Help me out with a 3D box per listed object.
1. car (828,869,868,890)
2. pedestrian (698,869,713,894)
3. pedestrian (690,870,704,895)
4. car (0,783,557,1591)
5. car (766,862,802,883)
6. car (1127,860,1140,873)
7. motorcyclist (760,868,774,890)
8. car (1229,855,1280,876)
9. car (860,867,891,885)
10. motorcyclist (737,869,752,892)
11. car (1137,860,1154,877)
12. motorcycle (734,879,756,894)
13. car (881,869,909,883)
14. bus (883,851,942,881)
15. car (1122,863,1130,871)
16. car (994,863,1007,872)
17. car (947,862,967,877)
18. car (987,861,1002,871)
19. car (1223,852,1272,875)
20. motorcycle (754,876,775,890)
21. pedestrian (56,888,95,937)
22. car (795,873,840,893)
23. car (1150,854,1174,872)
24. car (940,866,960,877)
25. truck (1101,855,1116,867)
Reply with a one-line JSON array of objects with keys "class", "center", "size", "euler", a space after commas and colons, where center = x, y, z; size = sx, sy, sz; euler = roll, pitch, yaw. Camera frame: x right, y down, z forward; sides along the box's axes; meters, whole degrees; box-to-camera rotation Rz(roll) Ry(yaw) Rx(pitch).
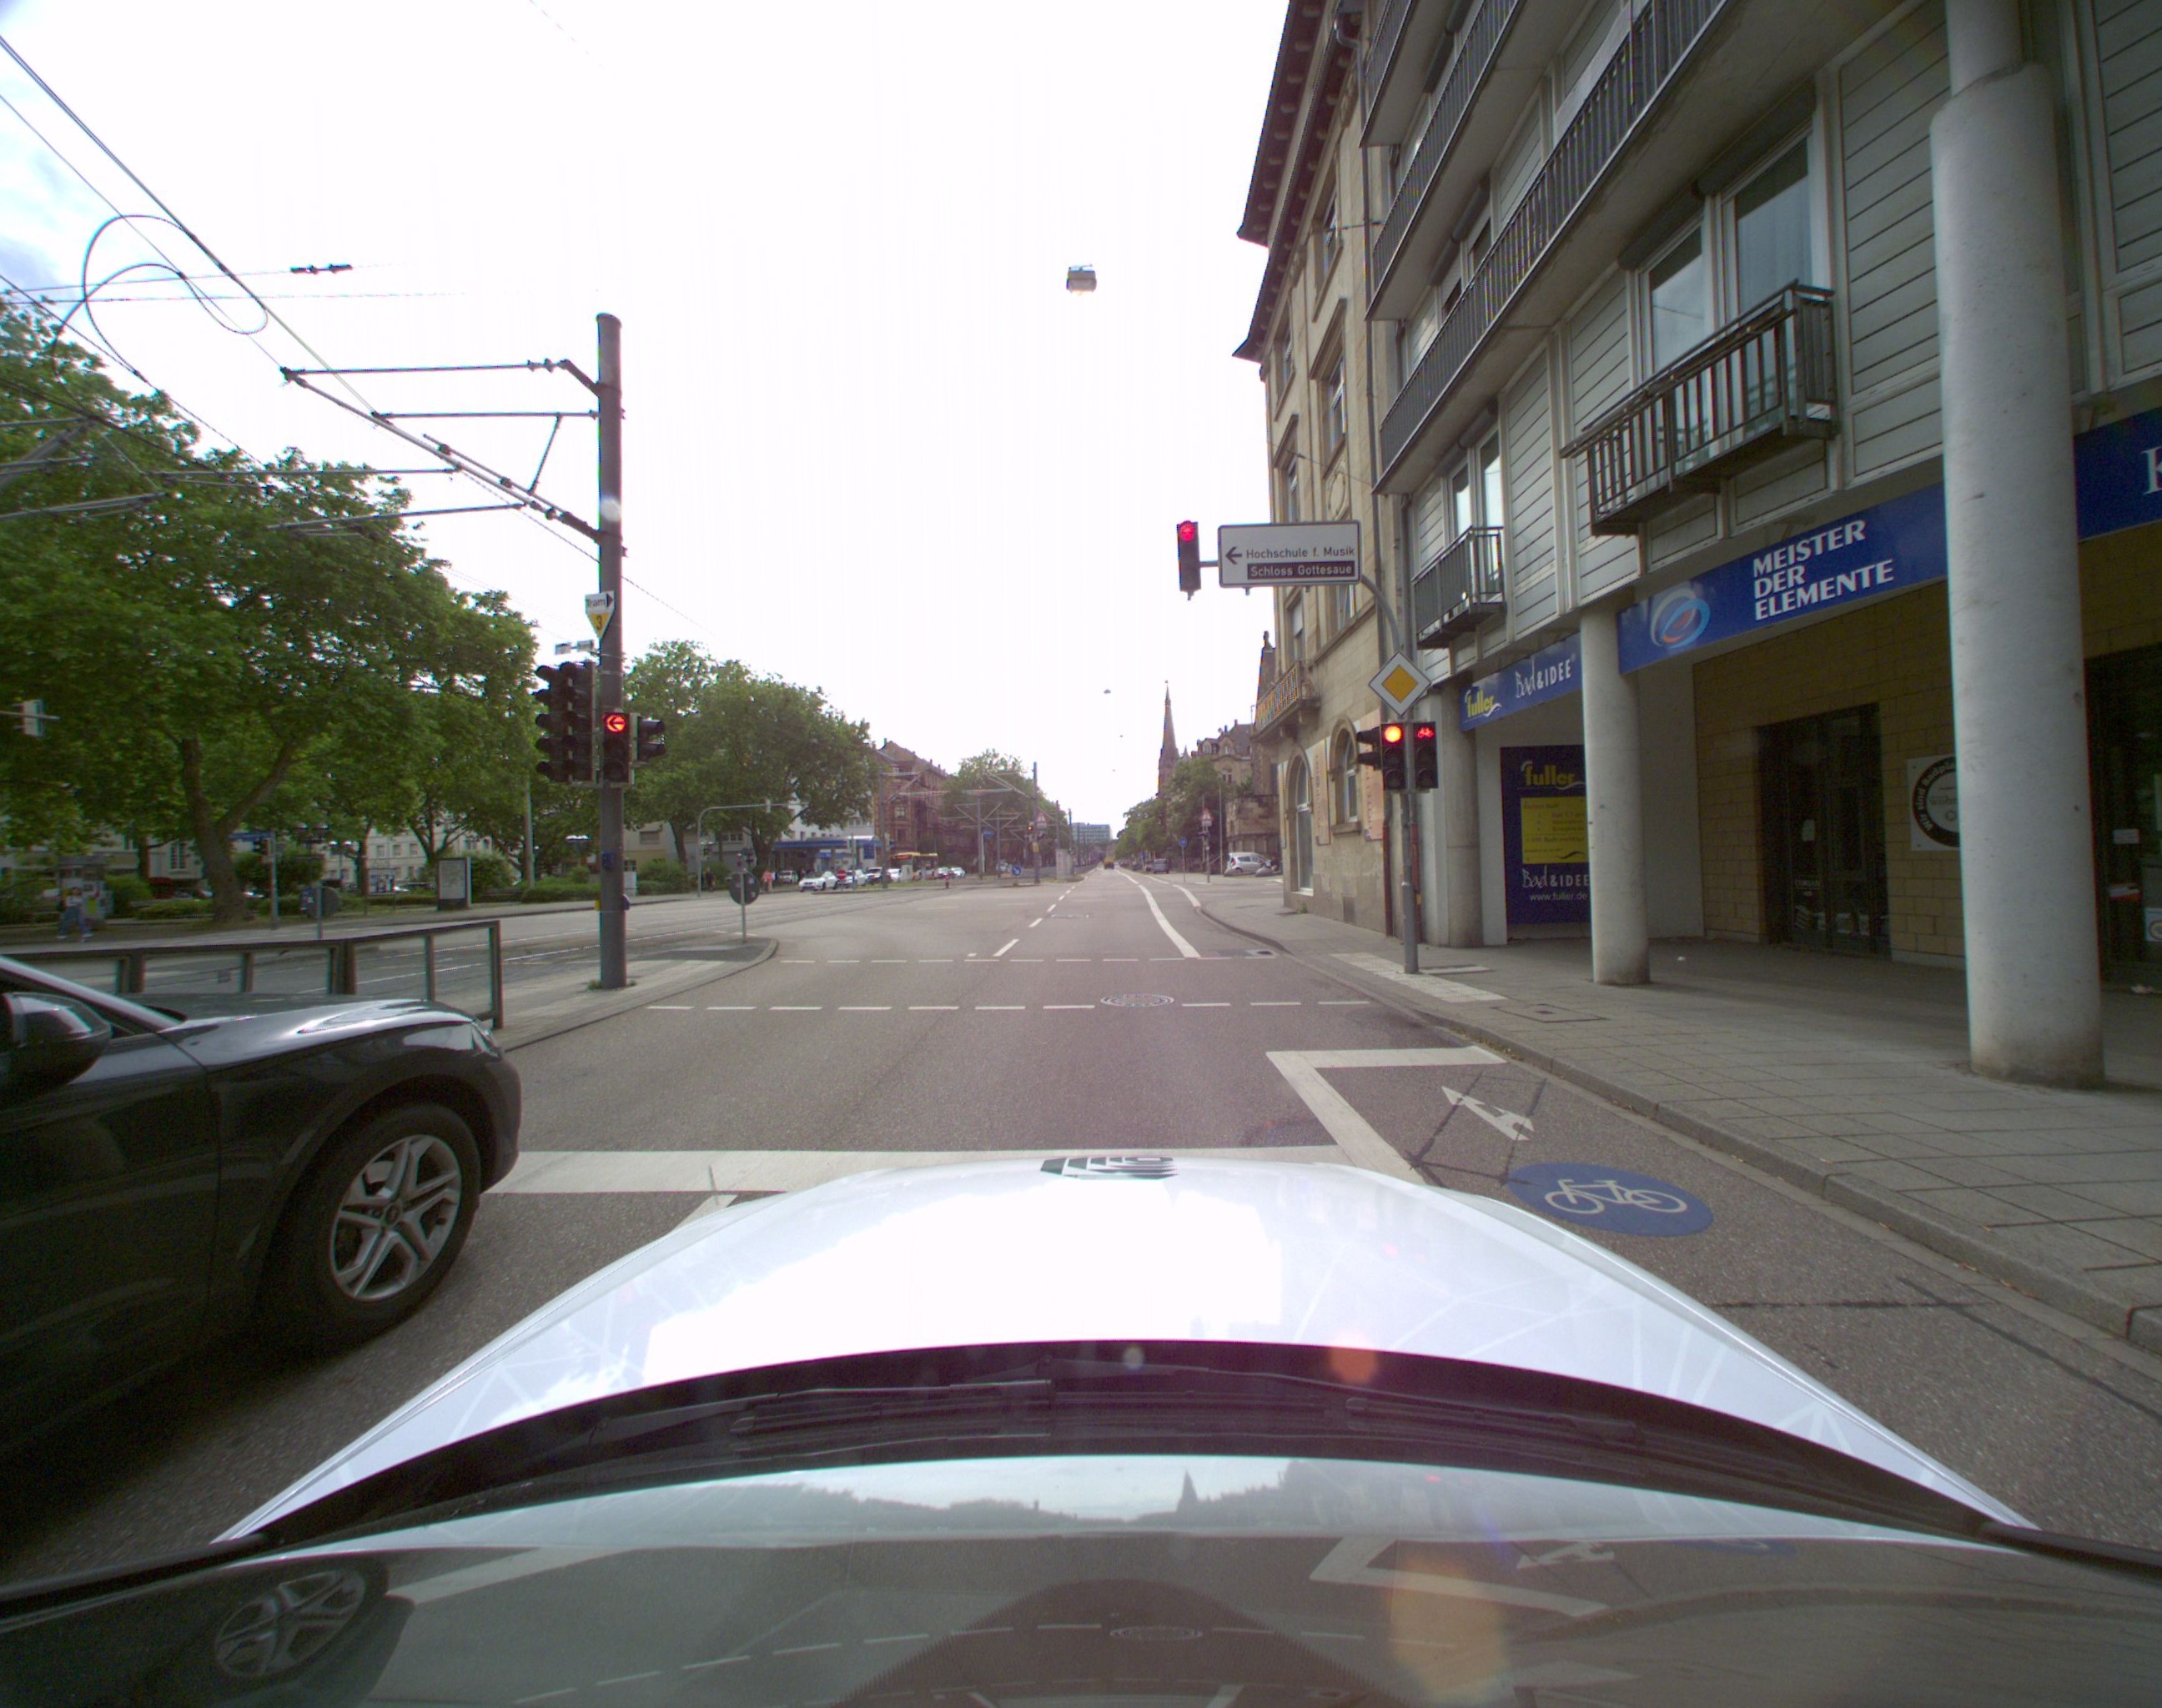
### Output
[{"class": "car", "center": [-18.846, 2.064, 66.072], "size": [1.986, 1.594, 4.001], "euler": [0, -1, 2]}, {"class": "pedestrian", "center": [-26.525, 1.916, 57.541], "size": [0.876, 1.713, 0.868], "euler": [-1, -1, -20]}, {"class": "pedestrian", "center": [-26.971, 2.024, 57.213], "size": [0.690, 1.713, 0.865], "euler": [-1, -1, -17]}, {"class": "car", "center": [-3.074, 0.677, 1.225], "size": [1.727, 1.637, 4.228], "euler": [0, -1, 2]}, {"class": "car", "center": [-29.778, 1.811, 81.797], "size": [1.986, 2.014, 4.001], "euler": [-2, -1, 2]}, {"class": "car", "center": [8.690, 2.062, 135.974], "size": [1.986, 2.014, 4.001], "euler": [0, -1, 2]}, {"class": "motorcyclist", "center": [-21.604, 1.711, 56.045], "size": [0.617, 1.520, 0.874], "euler": [-2, -1, 2]}, {"class": "car", "center": [13.748, 0.911, 64.787], "size": [3.699, 1.563, 2.001], "euler": [0, -1, 2]}, {"class": "car", "center": [-18.331, 1.938, 72.716], "size": [1.649, 1.478, 3.641], "euler": [0, -1, 3]}, {"class": "motorcyclist", "center": [-22.736, 1.791, 54.985], "size": [0.617, 1.520, 0.874], "euler": [-2, -1, 2]}, {"class": "car", "center": [7.890, 1.705, 99.589], "size": [1.985, 2.014, 4.004], "euler": [0, -1, 4]}, {"class": "motorcycle", "center": [-22.703, 2.187, 55.117], "size": [0.604, 0.928, 1.953], "euler": [-2, -1, 2]}, {"class": "car", "center": [-18.159, 2.109, 79.637], "size": [1.649, 1.321, 3.641], "euler": [0, -1, 3]}, {"class": "bus", "center": [-18.300, 1.308, 89.714], "size": [3.217, 3.035, 12.323], "euler": [0, 0, 4]}, {"class": "car", "center": [11.918, 3.385, 216.782], "size": [1.986, 2.014, 4.001], "euler": [0, -1, 2]}, {"class": "car", "center": [-14.791, 2.457, 149.897], "size": [1.986, 1.610, 4.001], "euler": [0, -1, 2]}, {"class": "car", "center": [-16.749, 2.072, 110.185], "size": [1.986, 2.014, 4.001], "euler": [0, -1, 2]}, {"class": "car", "center": [-15.050, 2.075, 142.087], "size": [1.986, 1.610, 4.001], "euler": [0, -1, 2]}, {"class": "car", "center": [13.925, 0.794, 68.232], "size": [3.699, 1.855, 2.001], "euler": [0, -1, 2]}, {"class": "motorcycle", "center": [-21.629, 1.985, 55.727], "size": [0.604, 0.928, 1.953], "euler": [-2, -1, 2]}, {"class": "pedestrian", "center": [-32.320, 1.877, 26.167], "size": [0.674, 1.510, 0.661], "euler": [-2, -1, 28]}, {"class": "car", "center": [-19.239, 2.085, 59.555], "size": [1.739, 1.321, 4.079], "euler": [0, -1, 4]}, {"class": "car", "center": [8.973, 0.995, 89.946], "size": [1.979, 1.855, 4.042], "euler": [-1, -1, 14]}, {"class": "car", "center": [-16.528, 2.201, 102.812], "size": [1.649, 1.321, 3.641], "euler": [0, -1, 3]}, {"class": "truck", "center": [6.550, 1.688, 191.605], "size": [3.042, 2.769, 9.826], "euler": [-2, 0, 4]}]
